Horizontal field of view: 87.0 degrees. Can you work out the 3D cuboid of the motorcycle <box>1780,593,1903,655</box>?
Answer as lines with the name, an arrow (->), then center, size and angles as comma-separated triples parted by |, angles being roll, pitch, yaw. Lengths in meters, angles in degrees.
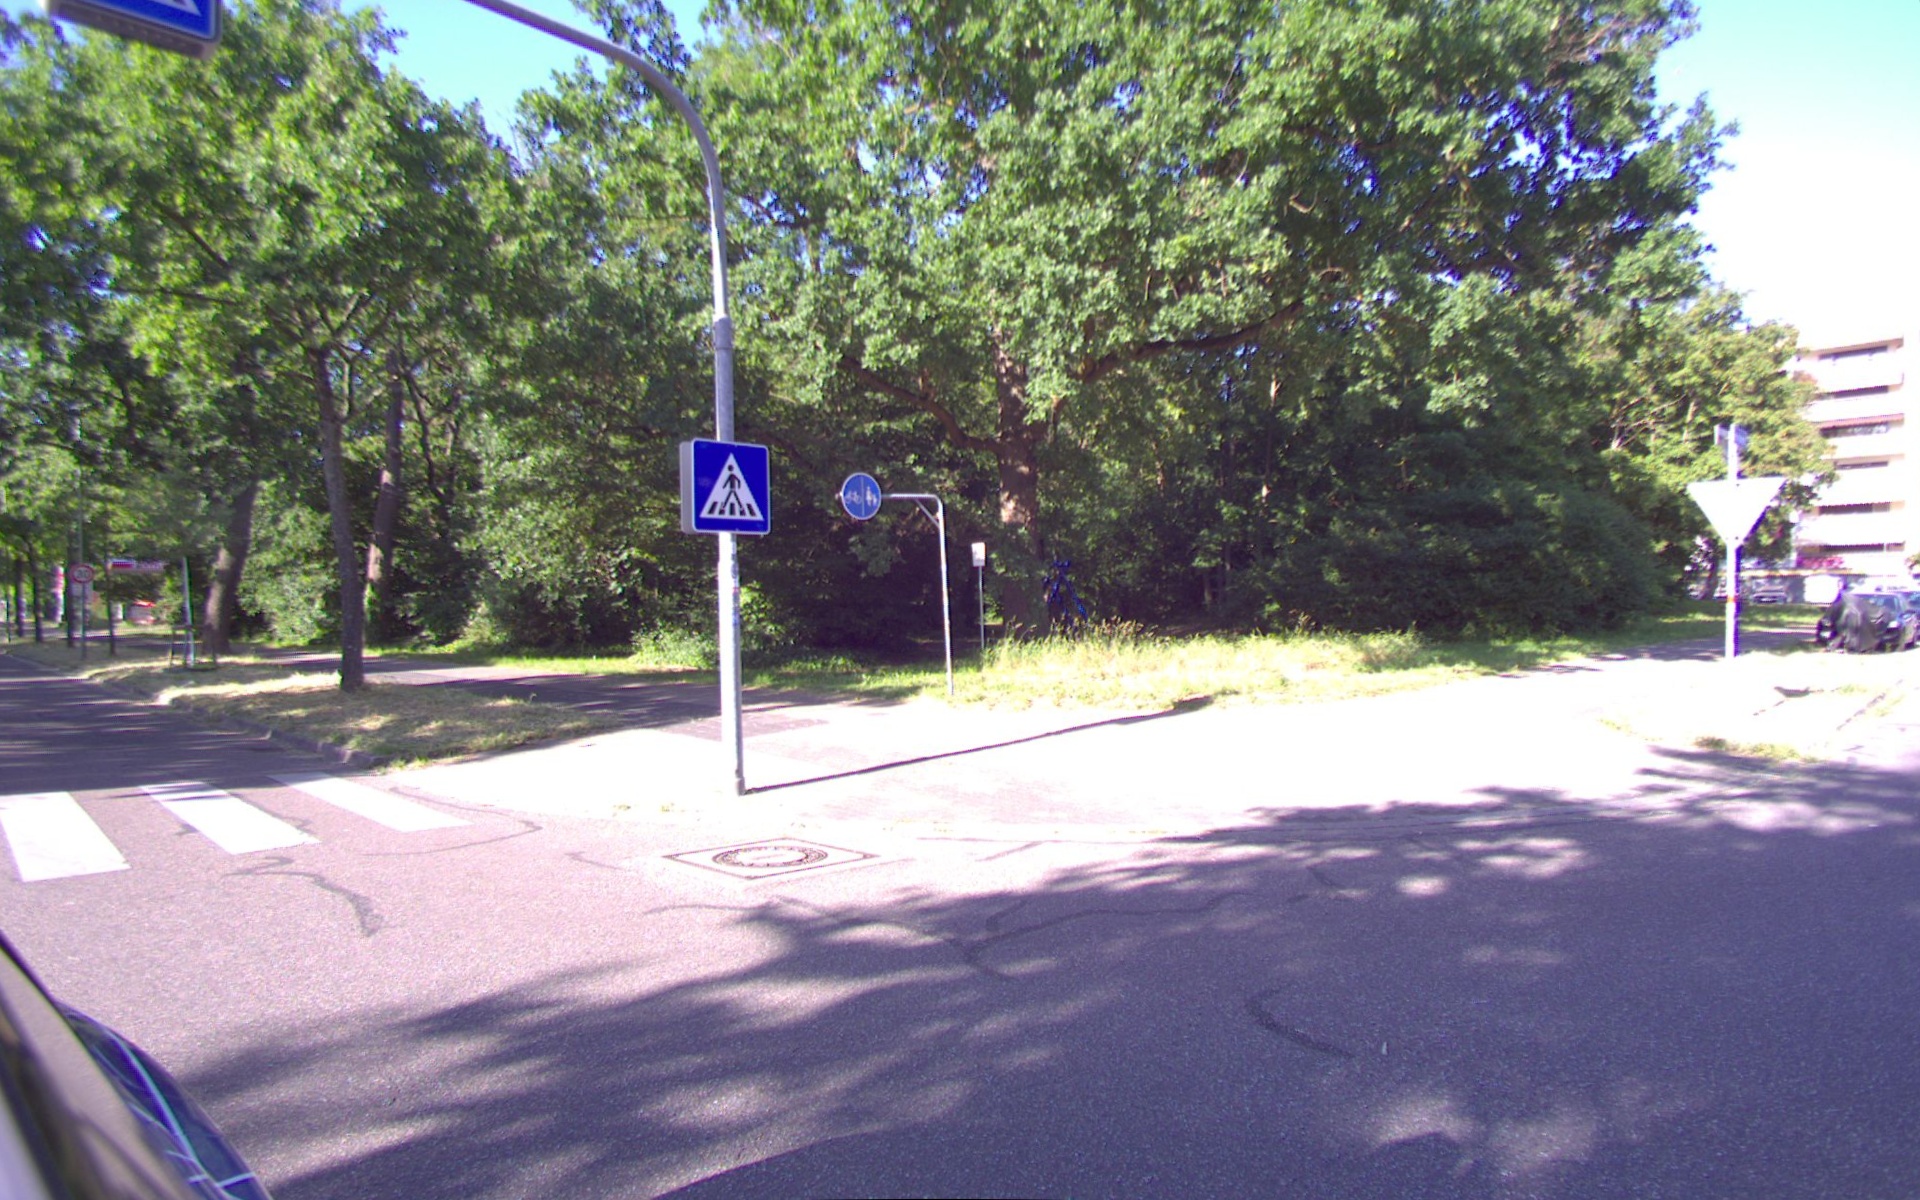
motorcycle -> 19.779, 0.539, 22.743 | 1.944, 1.354, 0.672 | -1, 0, 17

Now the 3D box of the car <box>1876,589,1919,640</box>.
car -> 28.064, 0.386, 29.629 | 3.535, 1.402, 1.561 | -1, 0, -43

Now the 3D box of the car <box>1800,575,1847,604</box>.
car -> 53.276, -0.655, 62.447 | 3.778, 1.757, 1.765 | -1, 0, -43

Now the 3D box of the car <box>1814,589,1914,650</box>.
car -> 22.898, 0.455, 25.589 | 3.535, 1.402, 1.561 | -1, 0, -43

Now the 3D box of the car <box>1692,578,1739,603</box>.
car -> 49.552, -0.609, 66.345 | 3.778, 1.538, 1.802 | -1, 0, -43

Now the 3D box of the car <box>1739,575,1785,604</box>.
car -> 51.484, -0.667, 64.962 | 3.778, 1.757, 1.765 | -1, 0, -43
